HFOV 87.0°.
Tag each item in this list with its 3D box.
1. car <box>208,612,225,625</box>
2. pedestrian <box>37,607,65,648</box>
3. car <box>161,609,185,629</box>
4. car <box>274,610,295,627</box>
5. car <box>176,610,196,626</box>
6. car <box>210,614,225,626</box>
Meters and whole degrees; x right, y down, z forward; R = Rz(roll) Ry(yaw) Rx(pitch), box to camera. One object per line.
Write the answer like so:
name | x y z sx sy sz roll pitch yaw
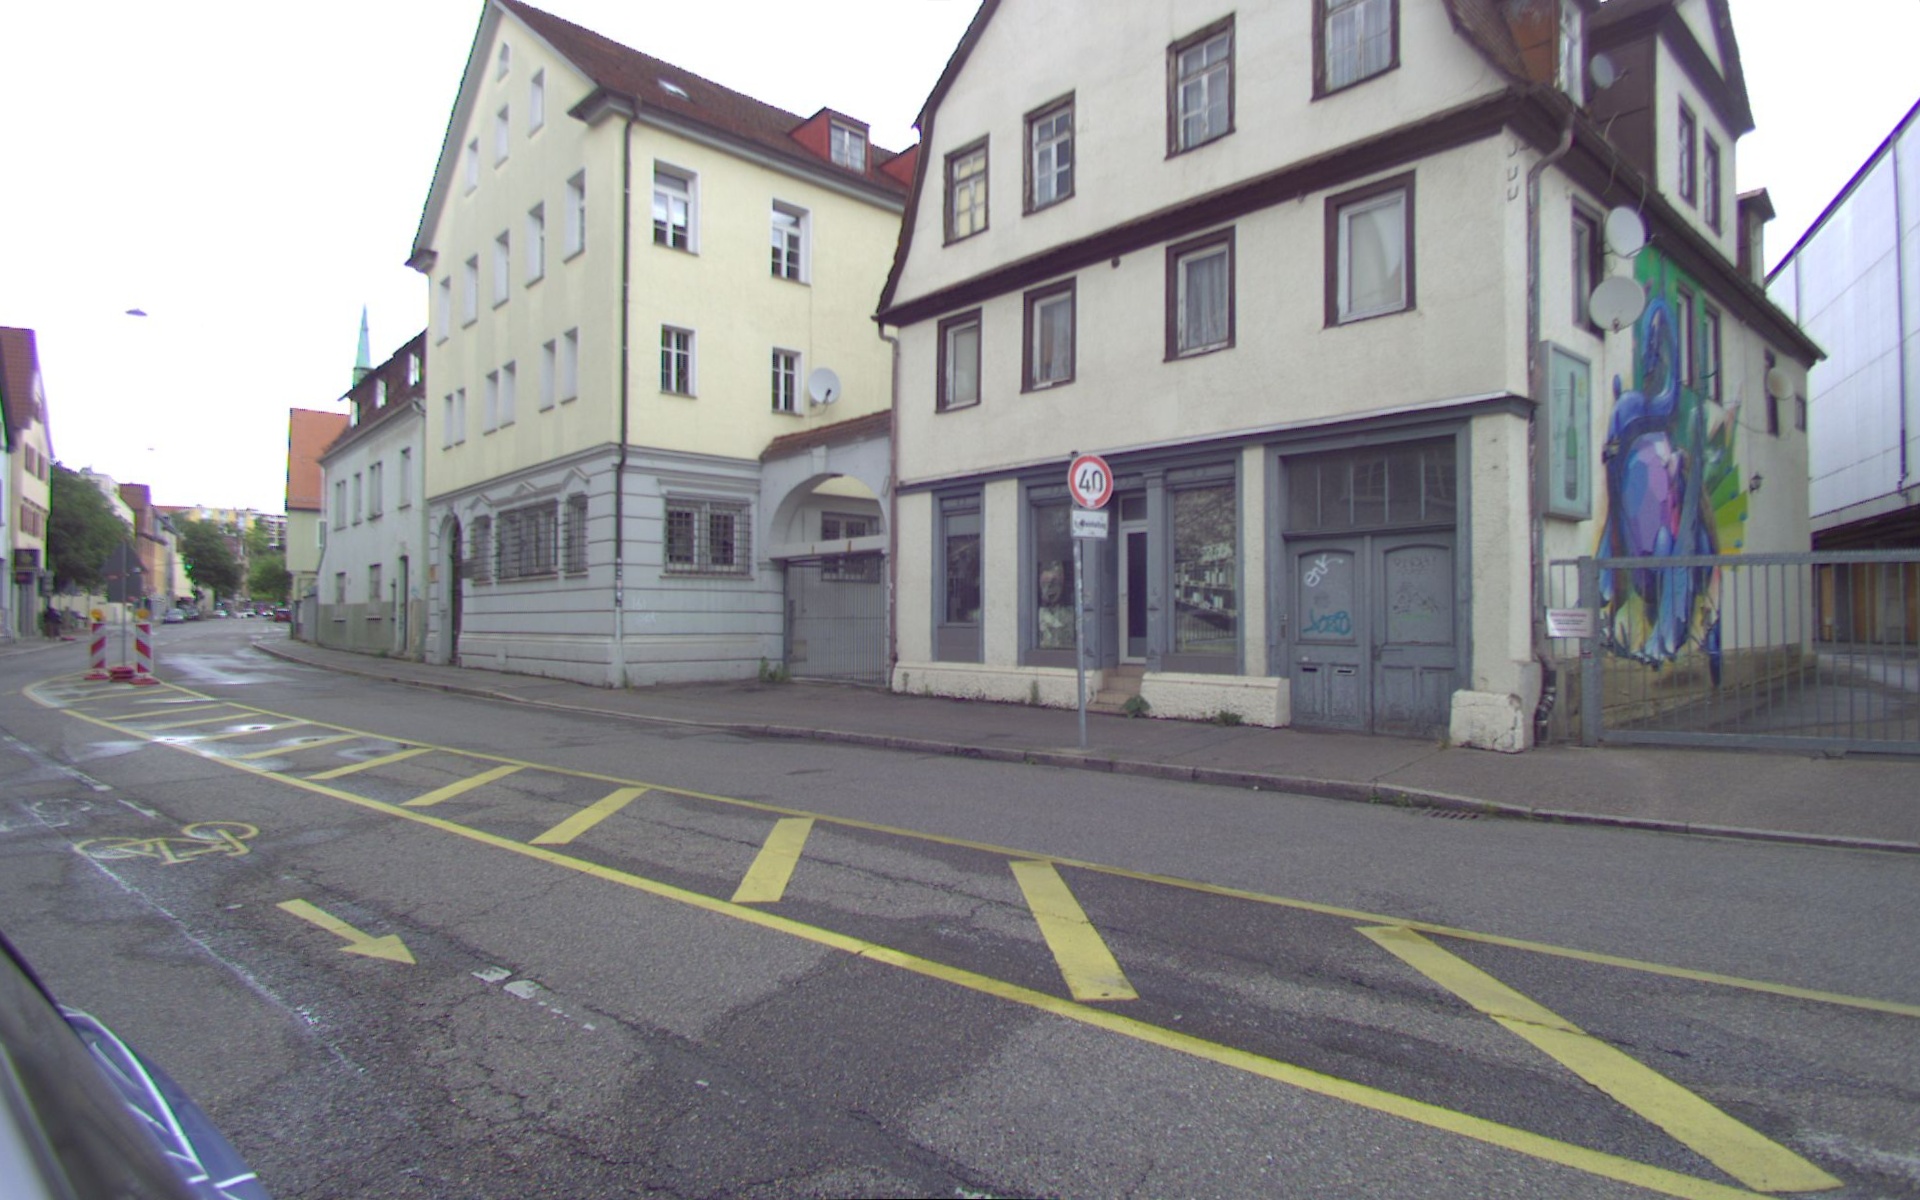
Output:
car | -114.781 2.865 156.210 1.967 2.029 4.009 1 -2 -37
pedestrian | -42.936 1.297 47.796 0.864 1.914 0.899 1 -2 -36
car | -84.801 2.061 109.032 1.967 2.029 4.009 1 -2 -37
car | -85.674 2.334 128.348 2.027 2.029 4.009 1 -2 -37
car | -96.966 2.251 126.810 1.967 2.029 4.009 1 -2 -37
car | -123.528 3.328 168.280 1.967 2.029 4.009 1 -2 -37
